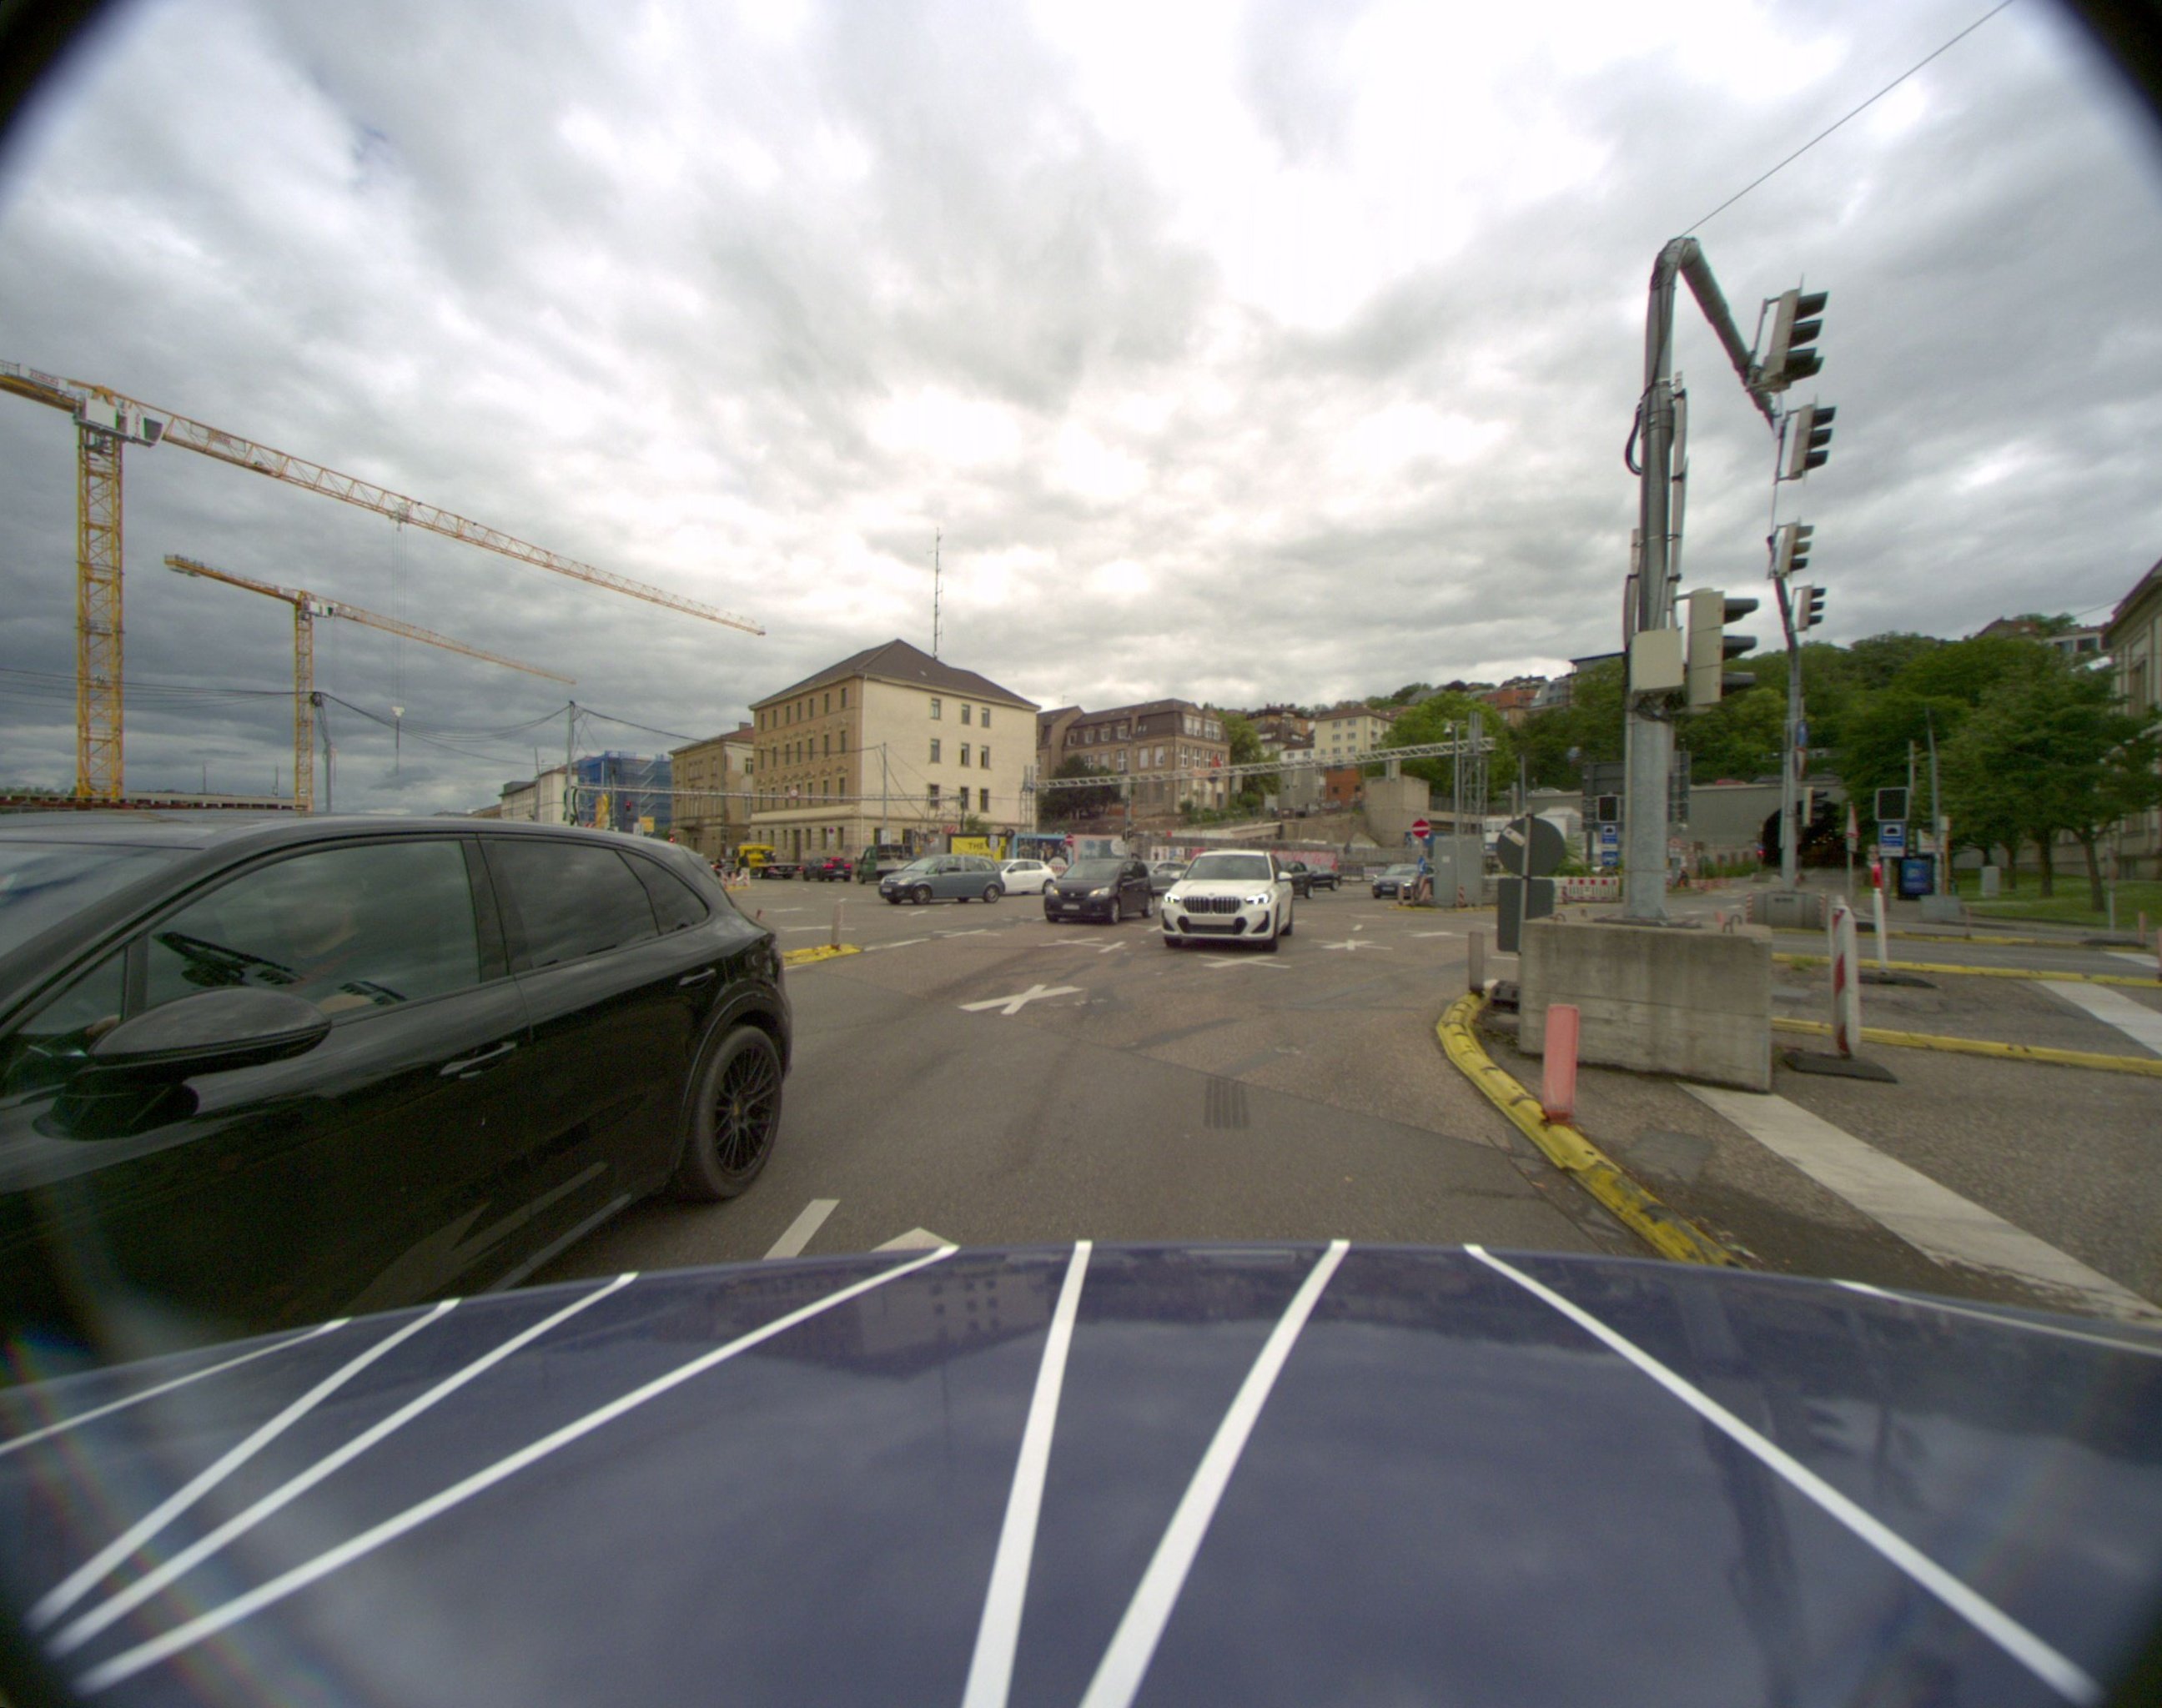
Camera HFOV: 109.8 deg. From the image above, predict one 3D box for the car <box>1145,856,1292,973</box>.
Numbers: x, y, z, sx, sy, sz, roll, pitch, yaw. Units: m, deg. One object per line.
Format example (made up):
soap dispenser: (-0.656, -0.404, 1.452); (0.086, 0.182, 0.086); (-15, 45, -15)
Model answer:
car: (2.452, 0.861, 12.772); (1.809, 1.596, 3.718); (1, 1, 20)

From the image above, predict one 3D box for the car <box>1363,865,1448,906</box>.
car: (13.601, 1.261, 31.759); (1.994, 1.543, 4.009); (1, 0, 43)

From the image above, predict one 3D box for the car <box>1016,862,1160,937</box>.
car: (0.317, 0.945, 17.467); (1.730, 1.461, 4.427); (1, 0, 23)

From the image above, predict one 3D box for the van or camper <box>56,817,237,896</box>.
van or camper: (-28.855, 0.019, 23.680); (2.003, 2.215, 3.990); (0, 2, -26)

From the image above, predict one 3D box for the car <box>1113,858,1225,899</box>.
car: (3.694, 1.008, 31.533); (4.693, 1.569, 1.905); (2, 0, -41)

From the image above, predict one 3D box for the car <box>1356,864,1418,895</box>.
car: (16.186, 1.304, 40.101); (1.994, 1.543, 4.009); (1, 0, 37)

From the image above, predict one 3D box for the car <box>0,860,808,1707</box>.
car: (-2.554, 0.874, 1.731); (1.955, 1.638, 4.609); (1, 0, 4)

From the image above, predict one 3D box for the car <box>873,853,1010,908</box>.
car: (-4.366, 0.778, 24.123); (3.963, 1.565, 1.687); (1, 1, -44)

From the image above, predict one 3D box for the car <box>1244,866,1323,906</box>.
car: (7.893, 1.219, 29.448); (1.573, 1.411, 3.579); (1, 0, 40)

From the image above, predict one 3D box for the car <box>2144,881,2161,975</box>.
car: (19.037, 1.190, 10.919); (4.119, 1.495, 1.775); (-1, -1, 45)

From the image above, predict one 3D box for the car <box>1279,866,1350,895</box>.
car: (12.073, 1.341, 39.185); (3.712, 1.381, 1.723); (2, 0, -41)

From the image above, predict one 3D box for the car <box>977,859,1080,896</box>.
car: (-2.091, 0.911, 31.121); (4.095, 1.407, 1.688); (0, 0, -44)
